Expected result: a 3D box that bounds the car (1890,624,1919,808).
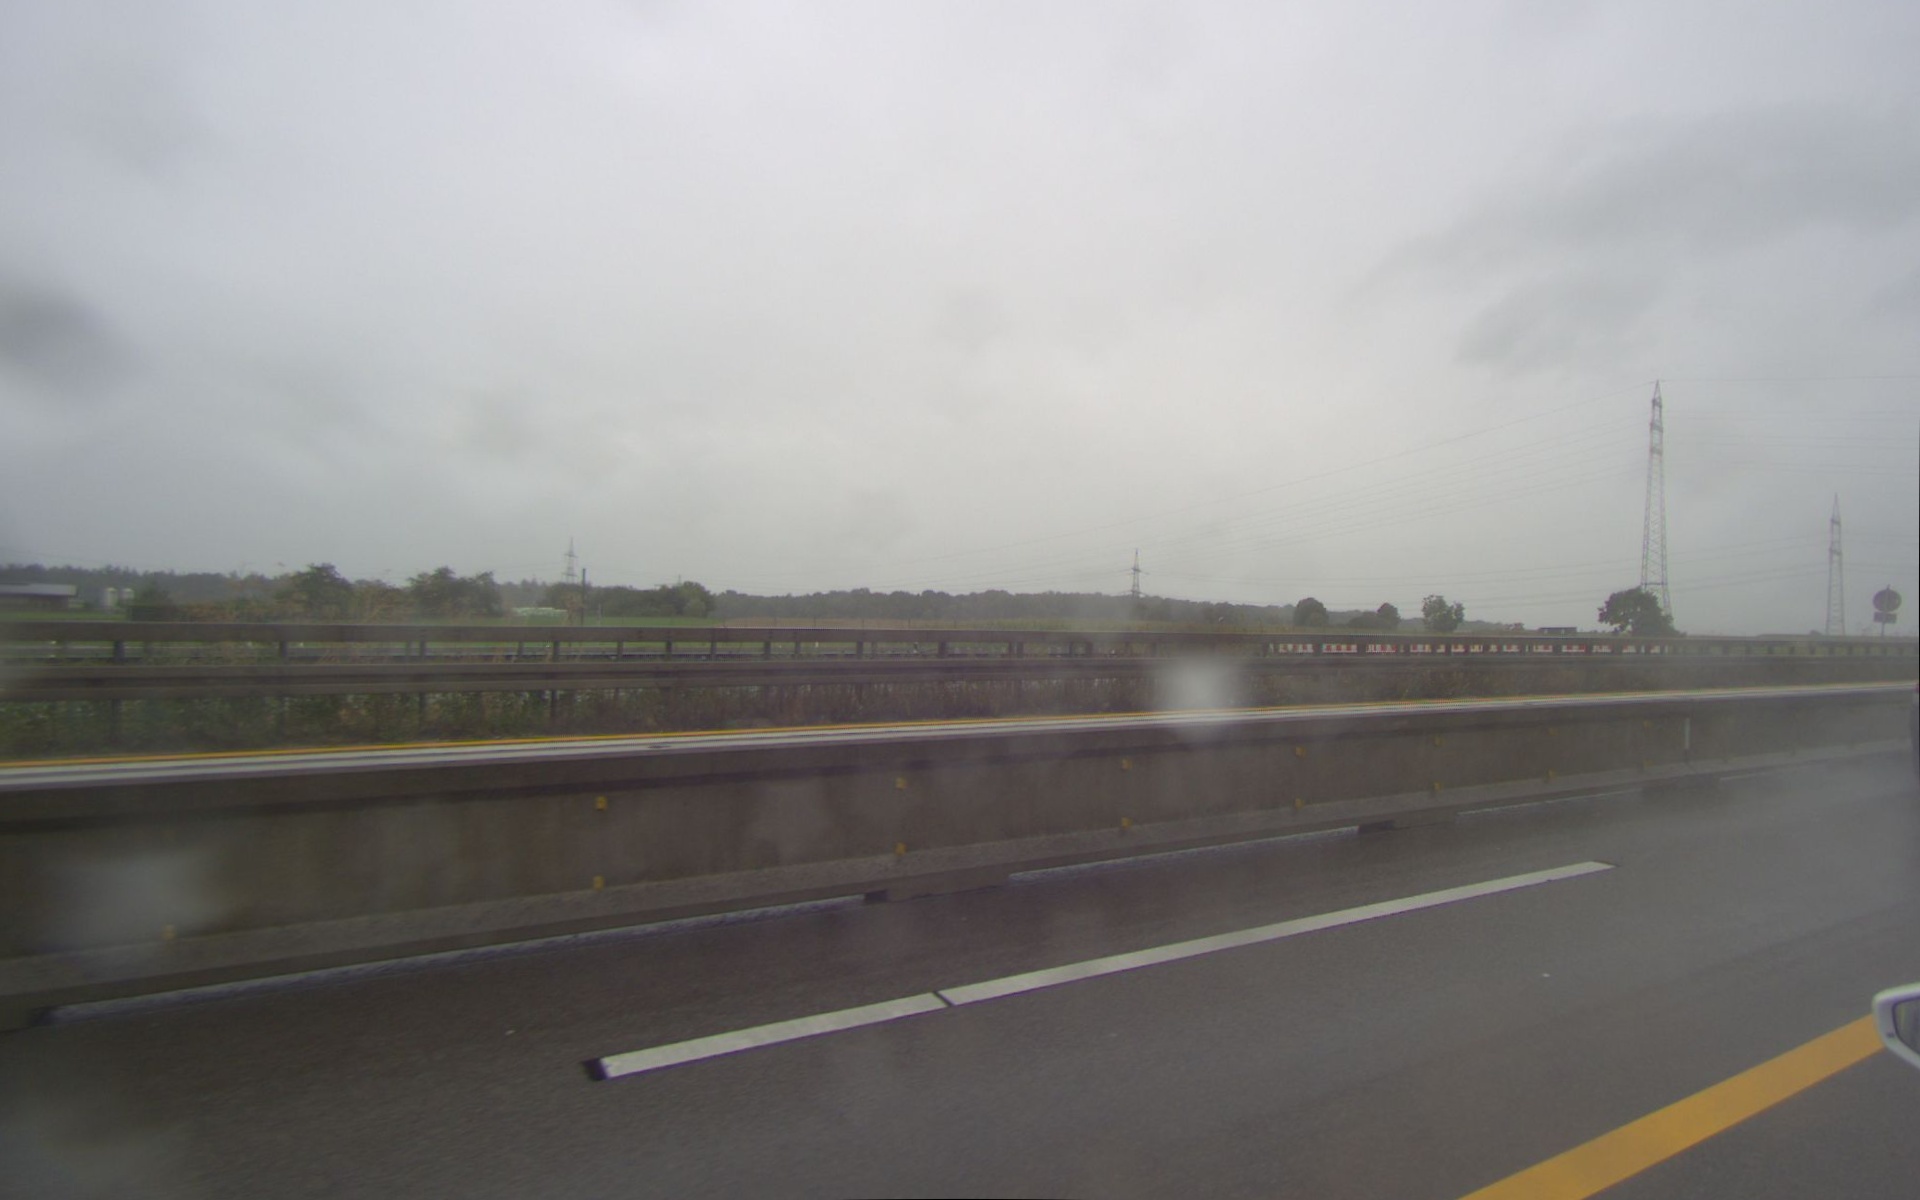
[{"bbox_3d":[10.840,1.142,9.485,4.789,1.619,1.692,3,-1,-30],"label":"car"}]
